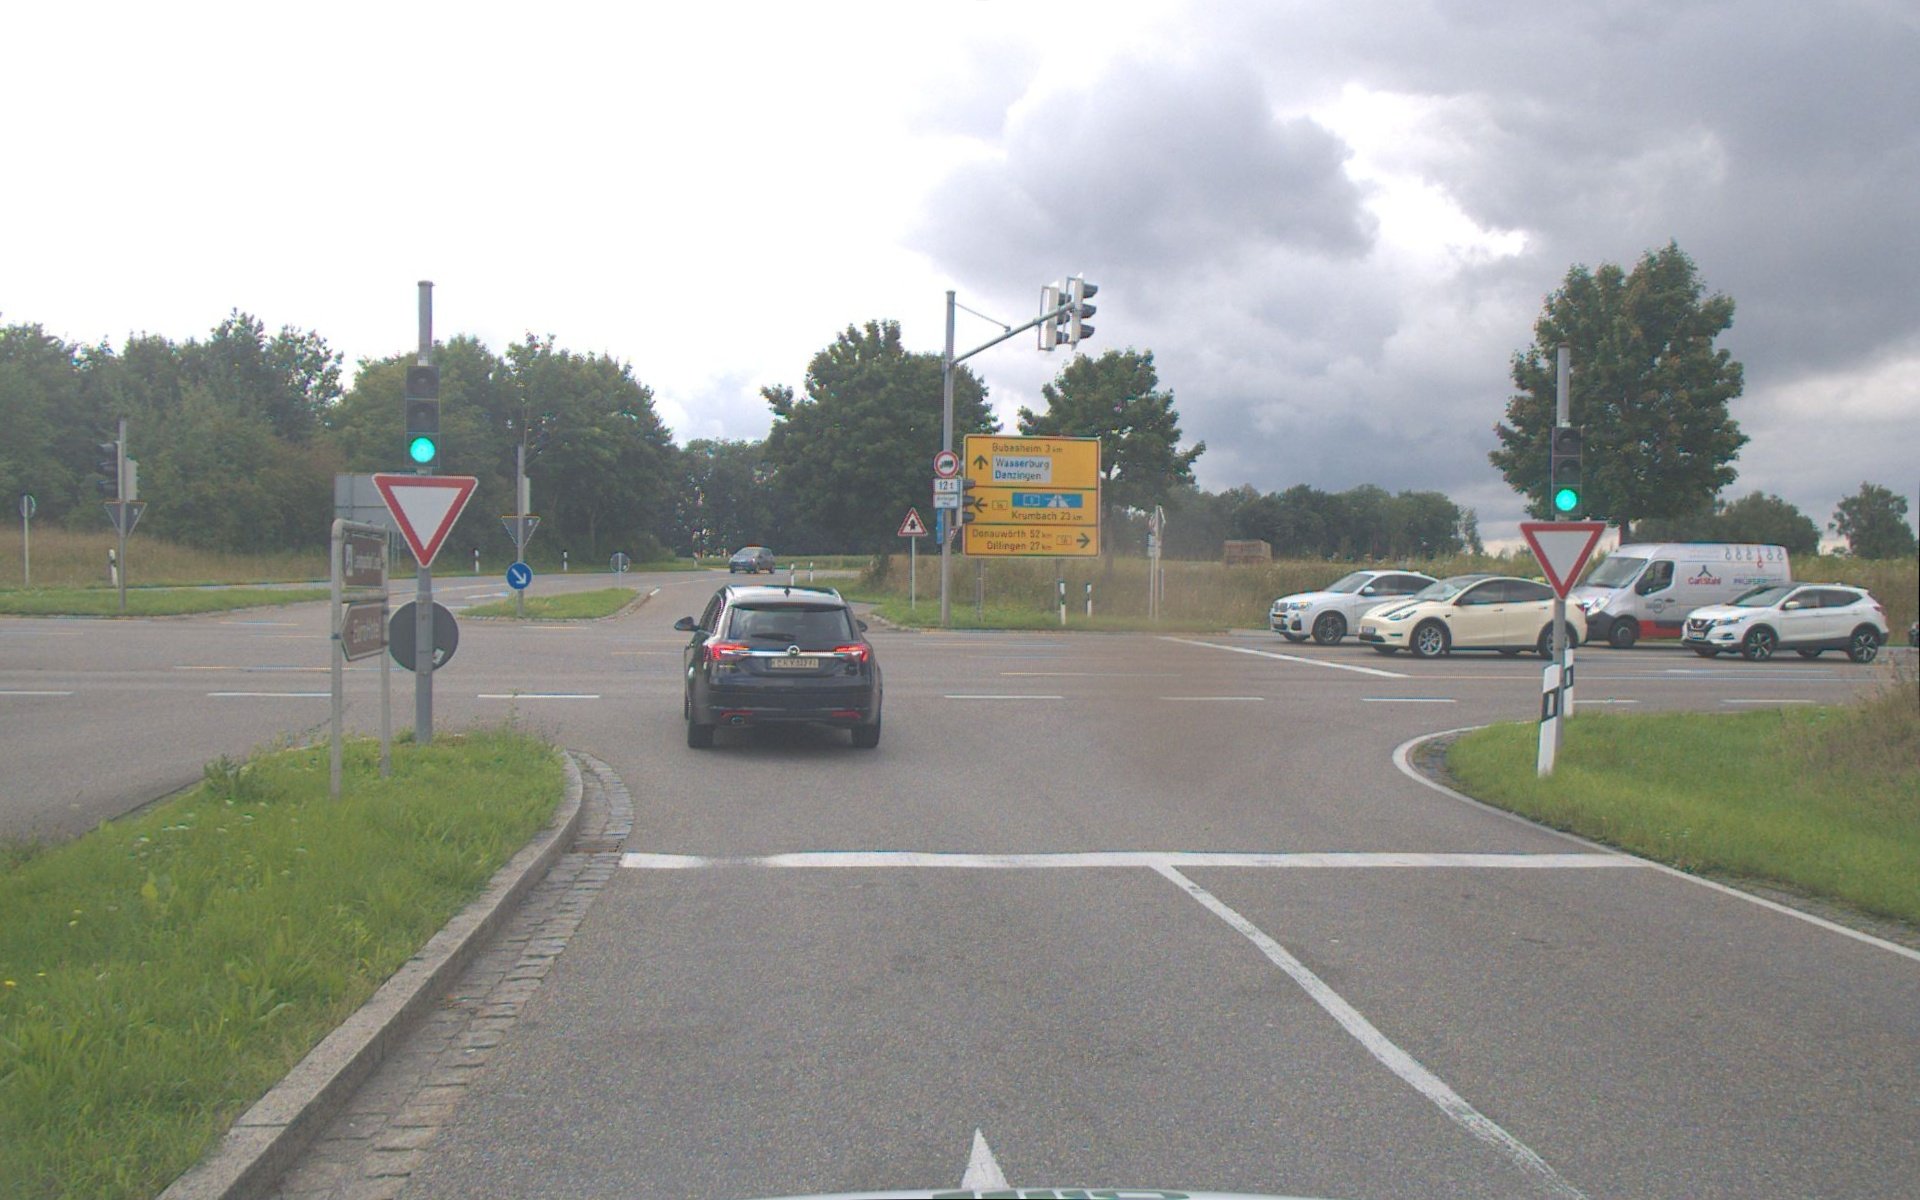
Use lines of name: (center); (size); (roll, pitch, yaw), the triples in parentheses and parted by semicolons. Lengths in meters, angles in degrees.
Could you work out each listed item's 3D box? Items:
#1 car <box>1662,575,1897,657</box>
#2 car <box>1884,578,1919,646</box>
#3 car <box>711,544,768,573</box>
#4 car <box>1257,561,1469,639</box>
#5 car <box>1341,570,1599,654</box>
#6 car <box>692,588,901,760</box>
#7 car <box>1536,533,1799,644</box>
car: (17.521, 0.330, 35.420); (4.235, 1.658, 1.993); (1, 0, -14)
car: (25.289, 0.319, 40.731); (4.188, 1.657, 1.993); (1, 0, -14)
car: (-12.754, -2.404, 95.808); (1.951, 1.562, 4.003); (1, 1, 13)
car: (9.012, 0.002, 37.116); (4.189, 1.657, 1.993); (1, 0, -15)
car: (10.269, 0.238, 33.405); (4.653, 1.592, 1.993); (1, 0, -14)
car: (-1.748, 0.629, 16.428); (1.774, 1.476, 4.263); (1, 0, -9)
car: (16.840, -0.252, 39.462); (5.400, 2.484, 2.390); (1, 0, -13)
